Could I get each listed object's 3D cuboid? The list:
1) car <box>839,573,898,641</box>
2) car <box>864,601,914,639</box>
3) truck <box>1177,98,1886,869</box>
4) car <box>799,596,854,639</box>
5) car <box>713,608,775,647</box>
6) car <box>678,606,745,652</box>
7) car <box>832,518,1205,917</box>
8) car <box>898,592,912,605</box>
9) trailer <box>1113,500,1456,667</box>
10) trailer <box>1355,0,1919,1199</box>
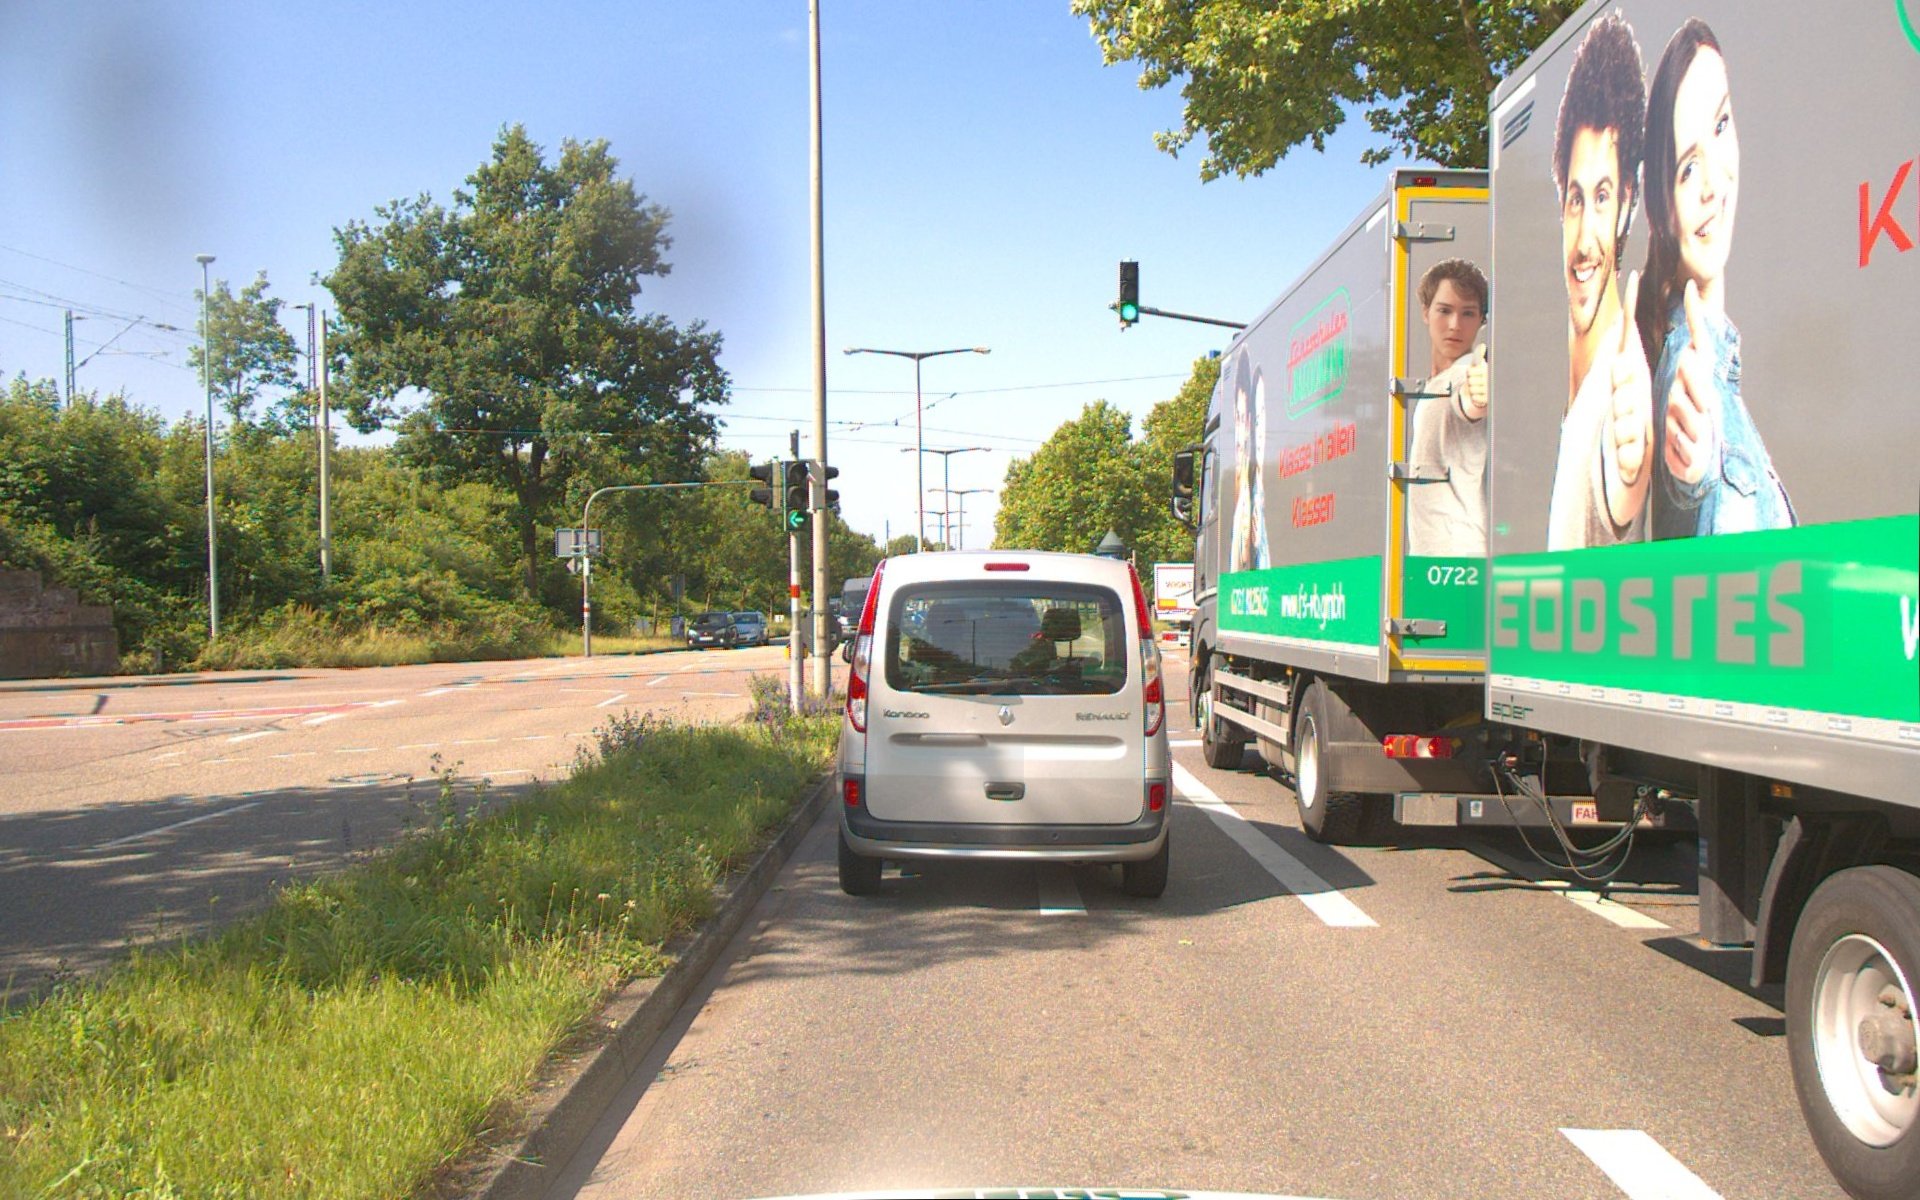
[{"bbox_3d":[-3.732,0.311,68.099,1.952,2.653,5.134,-1,-1,2],"label":"car"},{"bbox_3d":[-3.213,0.911,75.572,1.952,1.613,4.001,-2,-1,2],"label":"car"},{"bbox_3d":[3.505,-0.555,12.881,2.673,3.958,8.724,0,-1,1],"label":"truck"},{"bbox_3d":[-6.145,0.821,76.513,1.952,1.903,4.774,-1,-1,2],"label":"car"},{"bbox_3d":[-9.246,1.160,71.131,1.952,1.567,4.237,-1,-1,2],"label":"car"},{"bbox_3d":[-9.550,1.094,63.810,1.872,1.670,3.738,-1,-1,2],"label":"car"},{"bbox_3d":[0.248,0.582,9.887,1.750,1.870,3.999,1,-1,-1],"label":"car"},{"bbox_3d":[-8.462,-0.221,253.016,1.849,2.049,4.000,1,-1,1],"label":"car"},{"bbox_3d":[8.689,-0.254,42.181,2.856,3.686,12.617,0,-1,40],"label":"trailer"},{"bbox_3d":[3.333,-0.503,4.631,2.680,3.945,7.736,-1,-1,1],"label":"trailer"}]
